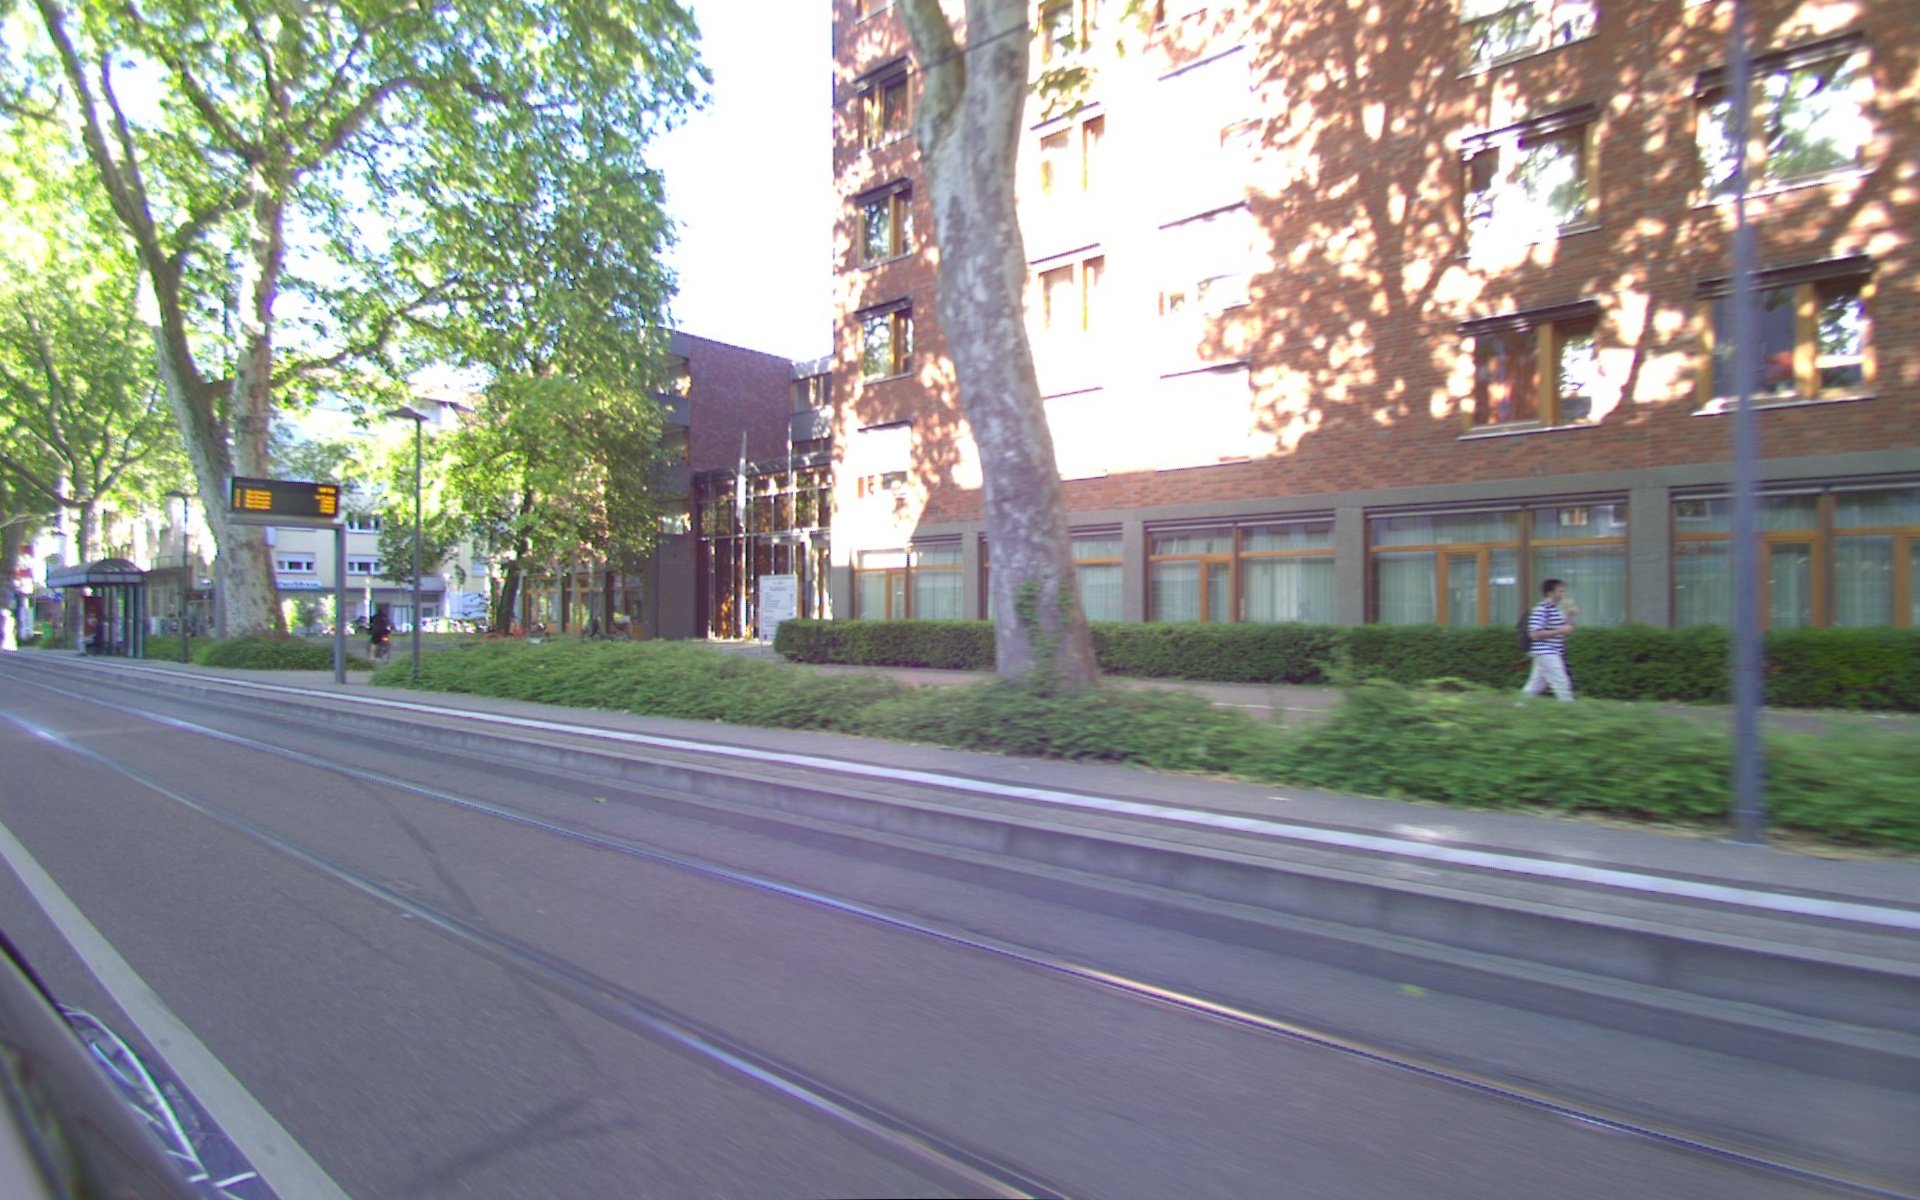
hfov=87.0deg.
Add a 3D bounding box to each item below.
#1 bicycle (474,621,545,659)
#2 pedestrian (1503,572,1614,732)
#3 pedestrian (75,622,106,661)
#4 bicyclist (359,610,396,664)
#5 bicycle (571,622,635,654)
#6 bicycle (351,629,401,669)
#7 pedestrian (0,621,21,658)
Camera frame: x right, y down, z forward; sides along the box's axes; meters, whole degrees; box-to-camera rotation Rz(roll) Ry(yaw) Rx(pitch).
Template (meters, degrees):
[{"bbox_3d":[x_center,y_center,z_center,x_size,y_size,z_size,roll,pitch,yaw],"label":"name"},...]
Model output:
[{"bbox_3d":[-15.189,1.324,34.128,2.067,1.198,0.883,-1,0,-33],"label":"bicycle"},{"bbox_3d":[6.924,0.573,11.708,0.971,1.757,0.756,-1,0,41],"label":"pedestrian"},{"bbox_3d":[-27.801,1.315,32.362,0.473,1.213,0.699,-1,0,42],"label":"pedestrian"},{"bbox_3d":[-17.173,1.078,29.830,0.892,1.526,0.725,-1,0,44],"label":"bicyclist"},{"bbox_3d":[-12.868,1.376,36.521,2.012,1.102,0.821,-1,0,4],"label":"bicycle"},{"bbox_3d":[-17.277,1.424,29.925,2.039,1.102,0.738,-1,0,44],"label":"bicycle"},{"bbox_3d":[-41.278,1.708,43.916,0.561,1.606,0.699,-1,0,42],"label":"pedestrian"}]
